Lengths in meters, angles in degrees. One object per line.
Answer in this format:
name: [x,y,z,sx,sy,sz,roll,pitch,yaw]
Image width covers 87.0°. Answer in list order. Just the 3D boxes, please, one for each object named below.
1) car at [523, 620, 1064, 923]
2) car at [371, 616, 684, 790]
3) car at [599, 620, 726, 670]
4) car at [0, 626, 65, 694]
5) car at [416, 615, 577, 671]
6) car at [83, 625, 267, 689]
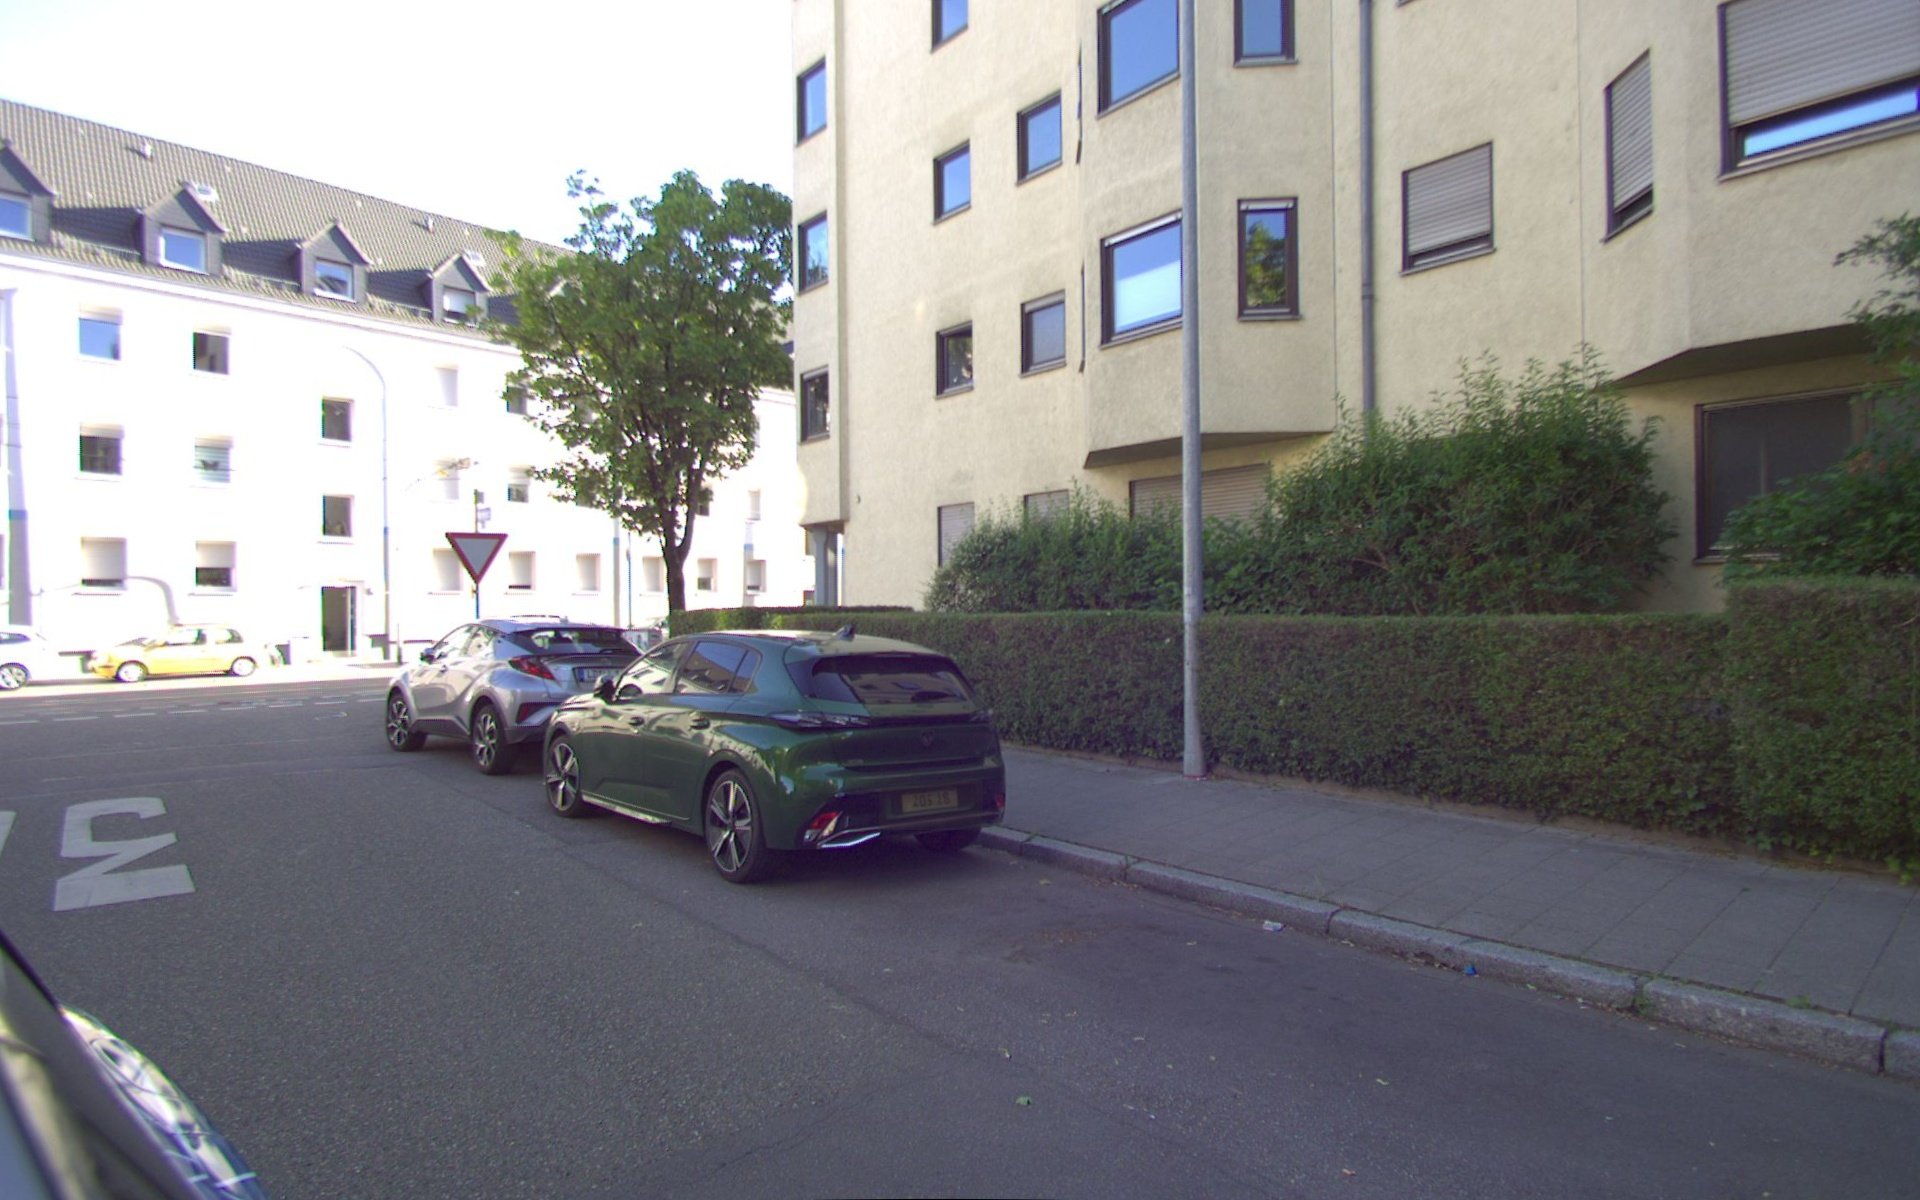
car: [-1.424,0.930,7.094,1.744,1.464,4.213,4,-4,-41]
car: [-4.897,0.997,11.178,4.075,1.567,1.699,-2,-3,44]
car: [-10.705,1.606,36.624,1.922,1.698,4.020,-2,-3,40]
car: [-23.232,1.404,22.807,1.945,1.518,4.430,-2,-1,43]
car: [-14.782,1.339,32.449,1.998,1.569,4.229,-2,-1,40]
car: [-20.245,1.414,26.197,1.554,1.459,3.564,0,0,41]
